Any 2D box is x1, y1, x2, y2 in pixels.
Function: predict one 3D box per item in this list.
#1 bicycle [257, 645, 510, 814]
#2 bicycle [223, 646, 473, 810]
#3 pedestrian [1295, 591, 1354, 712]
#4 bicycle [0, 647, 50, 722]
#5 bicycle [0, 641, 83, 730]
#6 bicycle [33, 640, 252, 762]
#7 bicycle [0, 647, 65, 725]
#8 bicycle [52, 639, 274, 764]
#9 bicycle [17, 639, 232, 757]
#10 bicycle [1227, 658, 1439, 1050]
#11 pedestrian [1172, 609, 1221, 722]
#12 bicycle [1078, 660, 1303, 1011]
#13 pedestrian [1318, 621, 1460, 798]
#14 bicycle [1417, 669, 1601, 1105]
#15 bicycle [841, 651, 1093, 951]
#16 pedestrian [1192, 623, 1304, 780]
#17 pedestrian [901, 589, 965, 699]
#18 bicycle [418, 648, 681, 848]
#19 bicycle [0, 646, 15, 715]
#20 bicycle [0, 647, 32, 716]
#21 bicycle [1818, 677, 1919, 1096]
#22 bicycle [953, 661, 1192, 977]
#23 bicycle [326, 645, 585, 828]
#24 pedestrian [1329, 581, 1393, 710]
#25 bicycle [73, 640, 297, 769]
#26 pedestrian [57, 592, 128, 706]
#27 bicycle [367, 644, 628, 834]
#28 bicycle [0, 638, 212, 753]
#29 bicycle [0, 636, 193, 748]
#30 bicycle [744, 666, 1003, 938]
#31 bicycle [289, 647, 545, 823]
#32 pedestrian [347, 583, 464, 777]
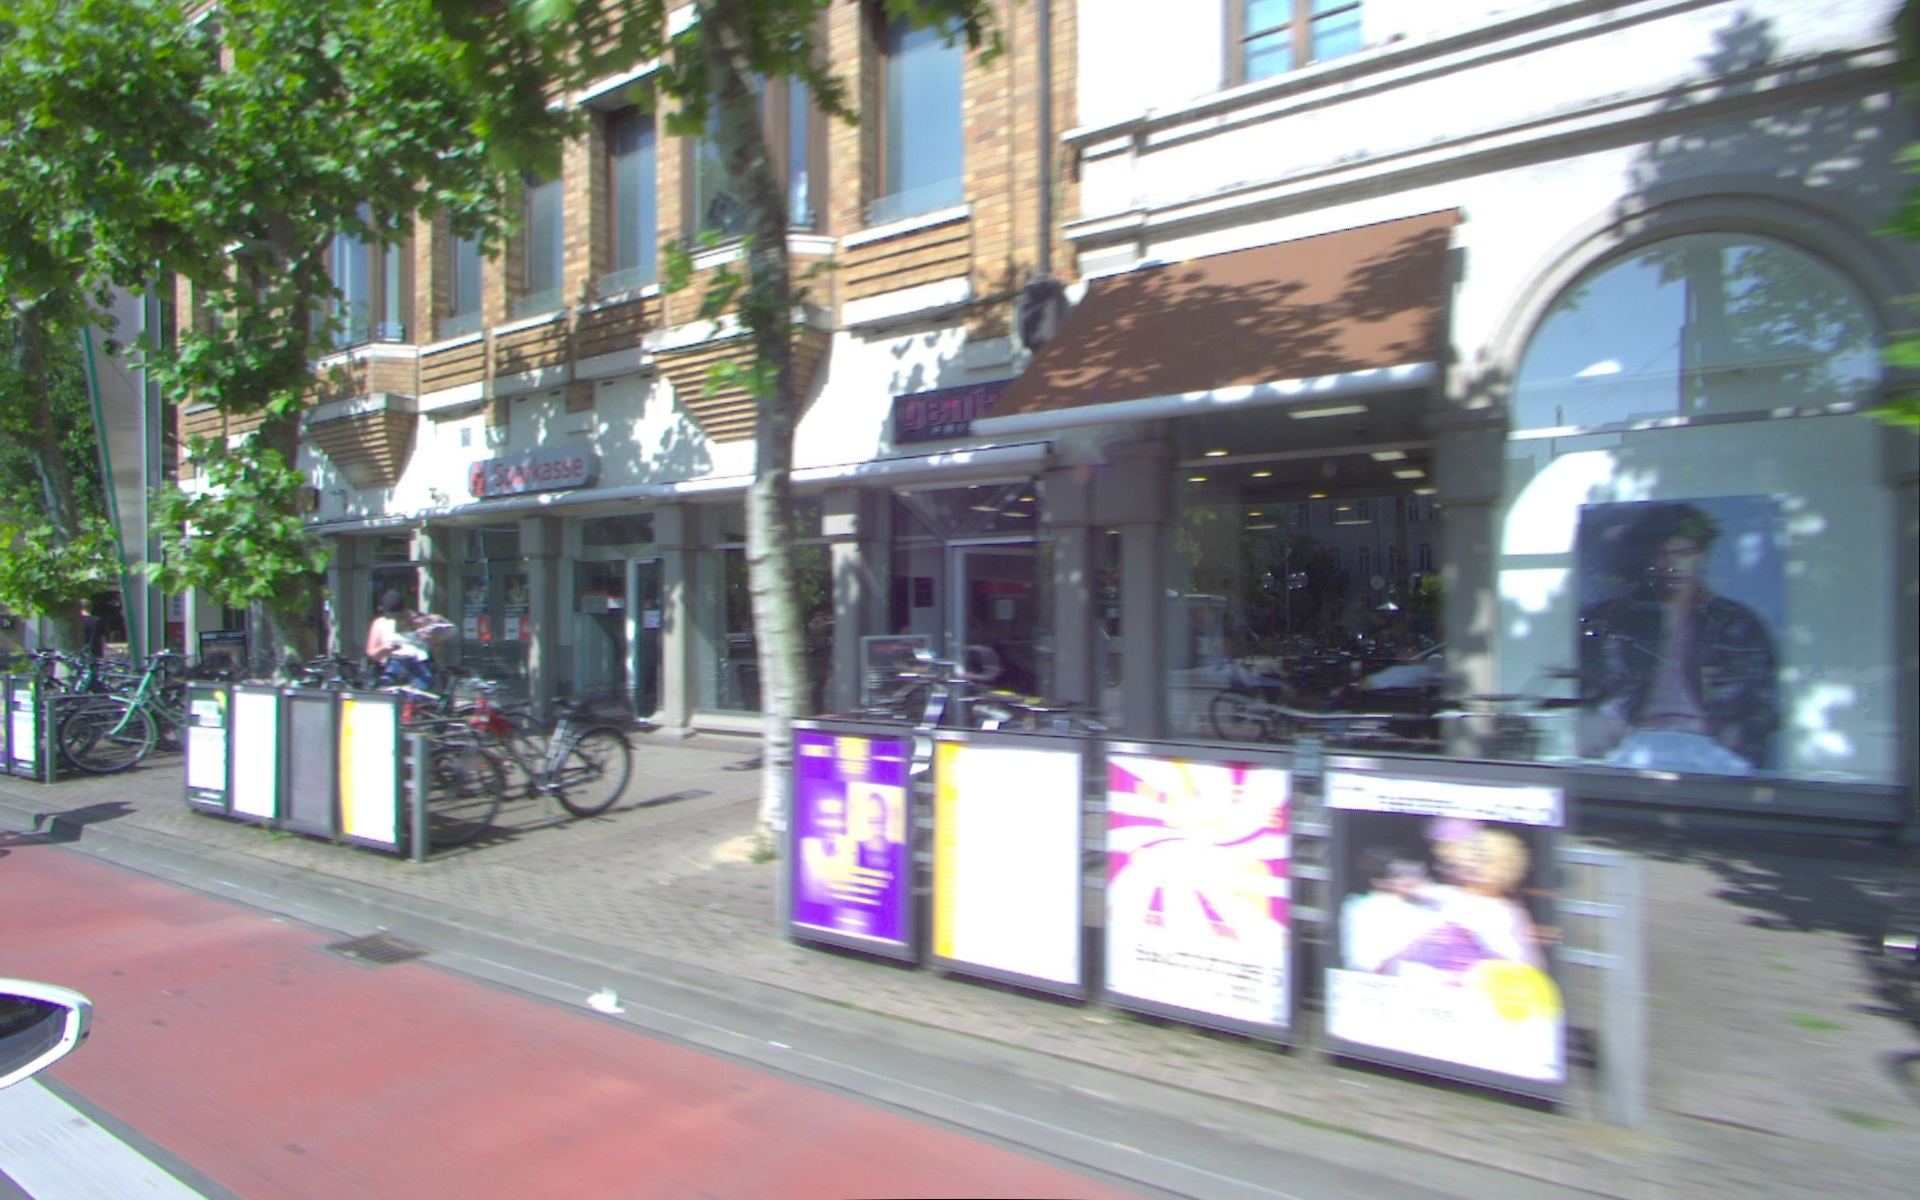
[{"bbox_3d":[-4.521,0.961,7.988,0.475,1.162,1.751,0,-1,30],"label":"bicycle"},{"bbox_3d":[-4.956,0.980,8.241,0.475,1.162,1.751,0,-1,30],"label":"bicycle"},{"bbox_3d":[4.339,0.617,11.934,0.516,1.404,0.414,1,-2,-15],"label":"pedestrian"},{"bbox_3d":[-13.828,1.184,13.875,0.475,1.031,1.751,0,-1,30],"label":"bicycle"},{"bbox_3d":[-12.827,1.137,13.278,0.475,1.162,1.751,0,-1,30],"label":"bicycle"},{"bbox_3d":[-8.638,1.024,10.663,0.475,1.162,1.751,0,-1,30],"label":"bicycle"},{"bbox_3d":[-13.308,1.176,13.536,0.475,1.031,1.751,0,-1,30],"label":"bicycle"},{"bbox_3d":[-8.209,1.001,10.402,0.475,1.162,1.751,0,-1,30],"label":"bicycle"},{"bbox_3d":[-9.049,1.020,10.926,0.475,1.162,1.751,0,-1,30],"label":"bicycle"},{"bbox_3d":[1.560,0.843,4.014,0.519,1.162,1.751,0,-1,30],"label":"bicycle"},{"bbox_3d":[3.027,0.831,12.793,0.517,1.404,0.413,0,-2,27],"label":"pedestrian"},{"bbox_3d":[1.079,0.874,4.377,0.475,1.162,1.751,0,-1,30],"label":"bicycle"},{"bbox_3d":[3.409,0.844,8.004,0.643,1.322,0.866,1,-2,-16],"label":"pedestrian"},{"bbox_3d":[2.053,0.879,3.734,0.475,1.162,1.751,0,-1,30],"label":"bicycle"},{"bbox_3d":[0.117,0.881,5.045,0.475,1.202,1.751,0,-1,30],"label":"bicycle"},{"bbox_3d":[2.431,0.842,8.488,0.715,1.268,0.591,1,-2,-14],"label":"pedestrian"},{"bbox_3d":[-0.372,0.608,13.885,0.637,1.473,0.596,-1,-2,41],"label":"pedestrian"},{"bbox_3d":[-2.748,0.929,6.902,0.492,1.162,1.751,0,-1,30],"label":"bicycle"},{"bbox_3d":[-15.079,1.204,14.664,0.475,1.031,1.751,0,-1,30],"label":"bicycle"},{"bbox_3d":[-14.466,1.193,14.301,0.475,0.997,1.715,0,-1,30],"label":"bicycle"},{"bbox_3d":[3.130,0.859,3.036,0.475,1.162,1.751,0,-1,30],"label":"bicycle"},{"bbox_3d":[0.609,0.901,4.758,0.475,1.162,1.751,0,-1,30],"label":"bicycle"},{"bbox_3d":[-3.673,0.934,7.451,0.475,1.162,1.751,0,-1,30],"label":"bicycle"},{"bbox_3d":[4.479,0.516,11.182,0.516,1.404,0.414,1,-2,-15],"label":"pedestrian"},{"bbox_3d":[-7.764,1.001,10.124,0.475,1.162,1.751,0,-1,30],"label":"bicycle"},{"bbox_3d":[-14.199,0.787,16.387,0.972,1.804,0.665,-1,0,36],"label":"pedestrian"},{"bbox_3d":[-3.241,0.915,7.198,0.475,1.162,1.751,0,-1,30],"label":"bicycle"},{"bbox_3d":[-9.466,1.011,11.177,0.475,1.162,1.751,0,-1,30],"label":"bicycle"},{"bbox_3d":[-9.888,1.002,11.429,0.475,1.162,1.751,0,-1,30],"label":"bicycle"},{"bbox_3d":[-0.379,0.961,5.358,0.475,1.138,1.751,0,-1,30],"label":"bicycle"},{"bbox_3d":[-4.105,0.963,7.726,0.475,1.162,1.751,0,-1,30],"label":"bicycle"},{"bbox_3d":[-5.014,0.705,9.058,0.721,1.654,0.650,-1,-2,36],"label":"pedestrian"}]
